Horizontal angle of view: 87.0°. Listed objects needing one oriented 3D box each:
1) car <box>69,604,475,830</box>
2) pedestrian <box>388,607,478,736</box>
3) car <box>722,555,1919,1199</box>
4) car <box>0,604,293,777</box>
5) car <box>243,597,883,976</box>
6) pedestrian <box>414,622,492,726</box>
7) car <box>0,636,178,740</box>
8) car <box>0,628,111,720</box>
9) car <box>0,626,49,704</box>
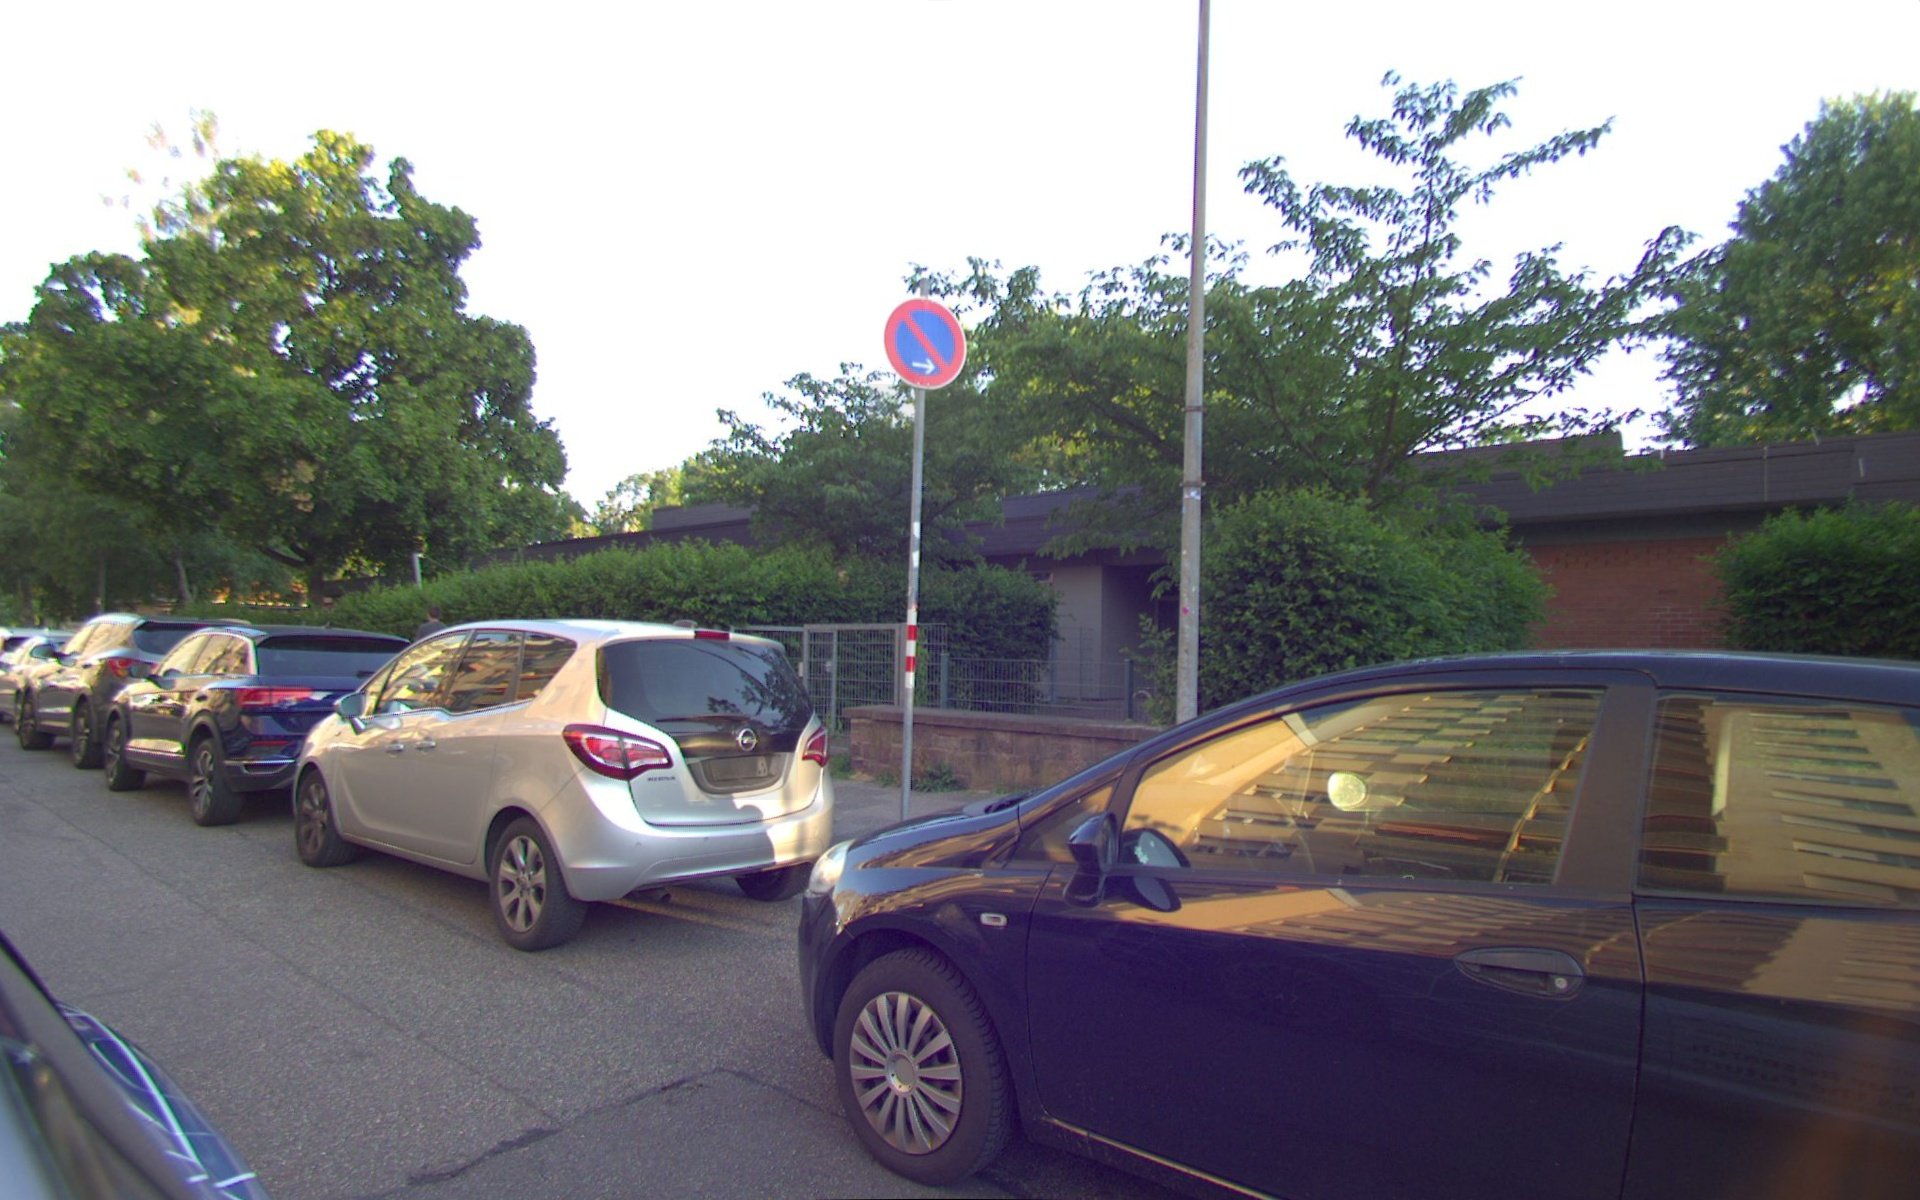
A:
[{"bbox_3d":[-6.276,0.920,9.073,4.160,1.579,1.717,-2,-5,37],"label":"car"},{"bbox_3d":[-7.489,0.989,14.382,0.749,1.745,0.890,-2,-1,38],"label":"pedestrian"},{"bbox_3d":[1.287,0.797,2.609,3.691,1.579,1.717,-2,-5,37],"label":"car"},{"bbox_3d":[-9.931,1.018,12.234,4.316,1.743,1.717,-2,-5,37],"label":"car"},{"bbox_3d":[-2.595,0.880,6.197,4.123,1.579,1.717,-2,-5,37],"label":"car"},{"bbox_3d":[-7.764,1.105,15.504,0.900,1.519,0.741,-2,-1,38],"label":"pedestrian"},{"bbox_3d":[-14.132,1.324,15.973,4.280,1.438,1.717,-2,-5,37],"label":"car"},{"bbox_3d":[-17.773,1.355,19.082,4.273,1.555,1.742,-2,-5,37],"label":"car"},{"bbox_3d":[-21.945,1.416,22.667,3.978,1.644,1.715,-2,-5,41],"label":"car"}]
